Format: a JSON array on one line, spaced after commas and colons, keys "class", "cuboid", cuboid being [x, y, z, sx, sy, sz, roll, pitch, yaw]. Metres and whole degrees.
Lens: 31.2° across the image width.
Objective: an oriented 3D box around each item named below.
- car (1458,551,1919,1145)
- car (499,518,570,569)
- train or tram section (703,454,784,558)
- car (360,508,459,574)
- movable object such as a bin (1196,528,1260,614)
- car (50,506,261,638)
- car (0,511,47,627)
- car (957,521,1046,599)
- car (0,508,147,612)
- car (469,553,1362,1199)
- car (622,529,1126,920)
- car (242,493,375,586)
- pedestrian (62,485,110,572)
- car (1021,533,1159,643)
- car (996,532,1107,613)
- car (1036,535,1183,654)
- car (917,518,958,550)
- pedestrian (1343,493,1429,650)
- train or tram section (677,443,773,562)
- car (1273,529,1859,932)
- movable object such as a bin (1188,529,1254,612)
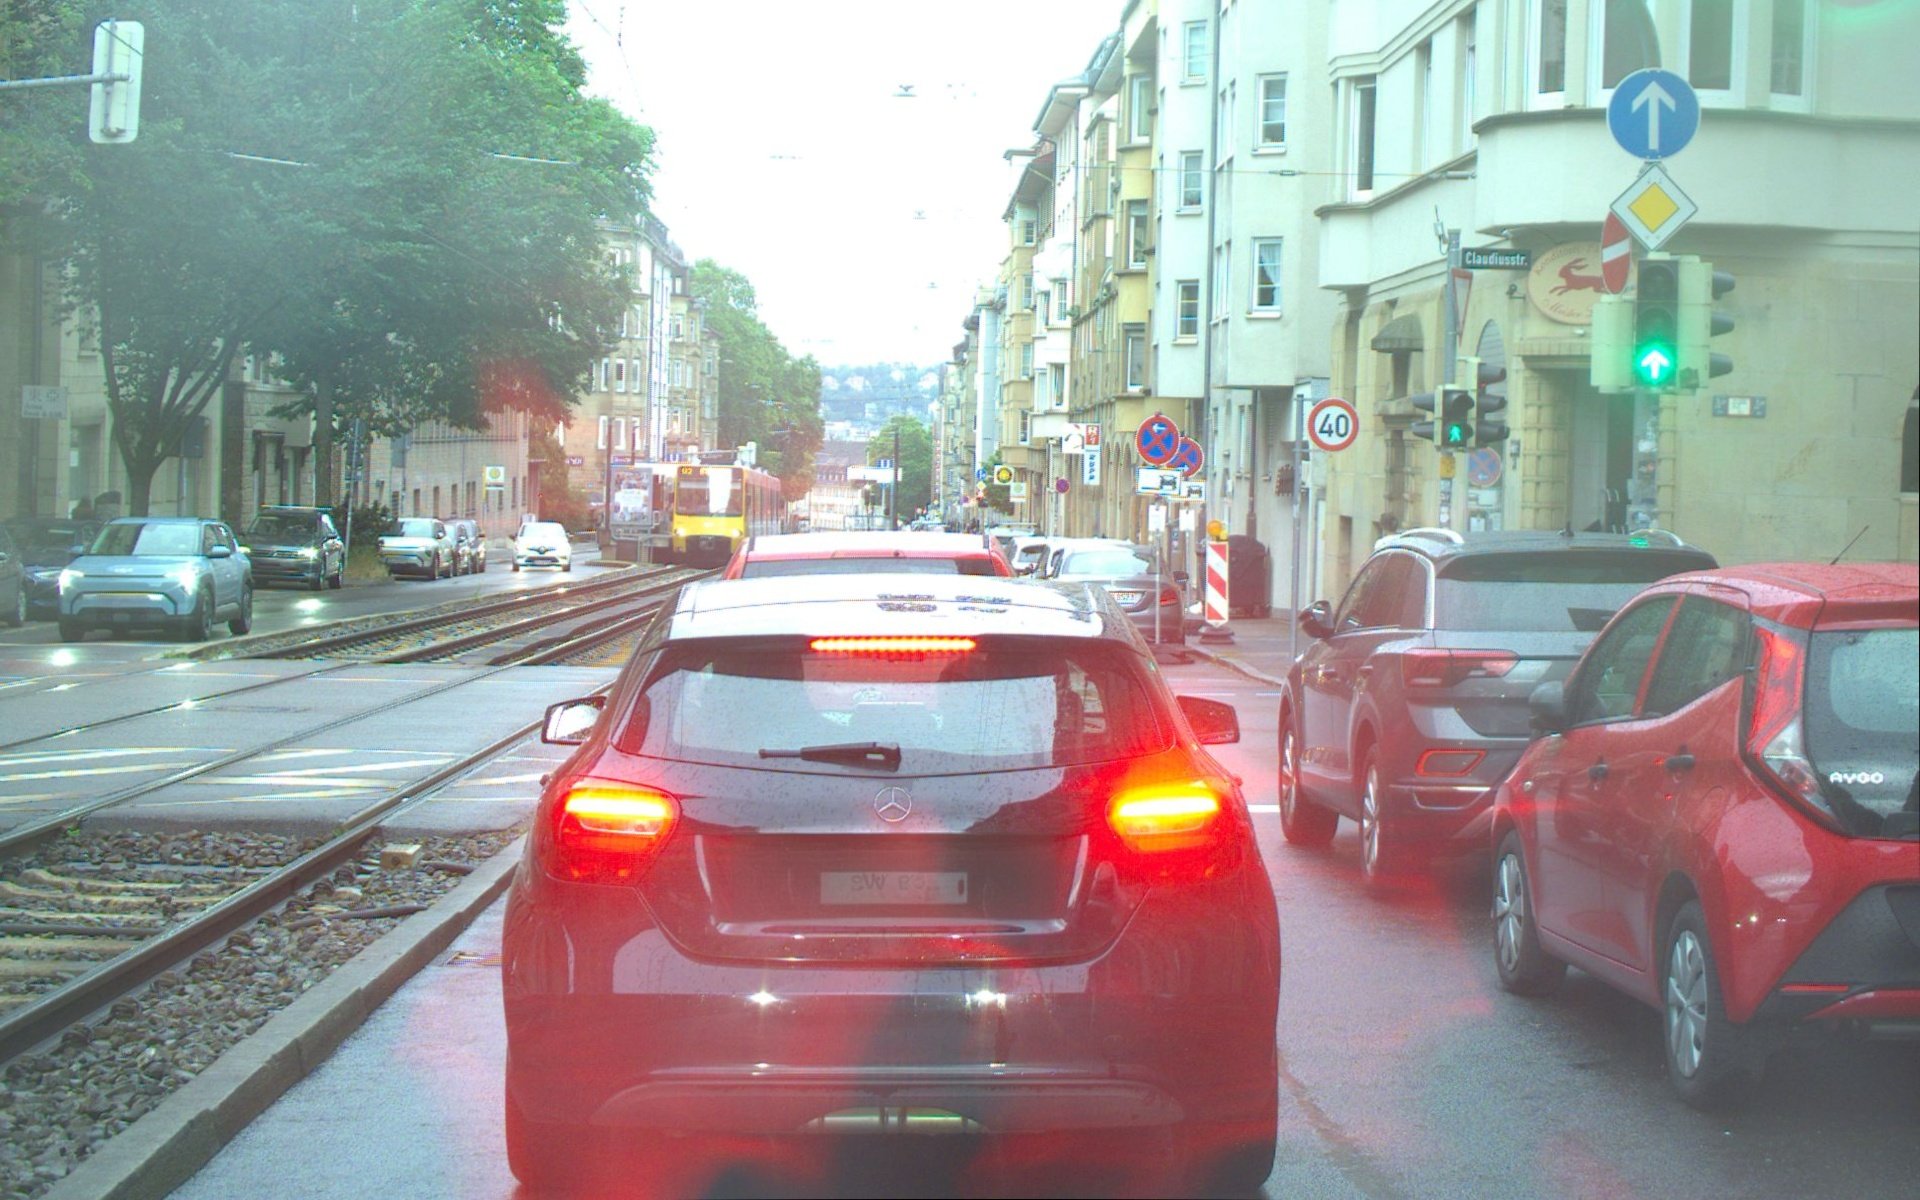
[{"class": "car", "cuboid": [2.716, 0.613, 10.342, 1.705, 1.448, 3.533, 2, 1, -3]}, {"class": "car", "cuboid": [-12.795, -1.692, 103.510, 1.780, 1.497, 4.063, 1, 1, -2]}, {"class": "train or tram section", "cuboid": [-8.873, -3.857, 142.265, 2.745, 4.048, 15.663, 1, 1, -2]}, {"class": "car", "cuboid": [-14.258, -1.561, 89.183, 1.961, 1.600, 4.329, 2, 2, -2]}, {"class": "movable object such as a bin", "cuboid": [4.640, -0.512, 59.615, 0.980, 1.463, 1.273, 1, 0, -1]}, {"class": "car", "cuboid": [-10.400, -0.371, 44.720, 1.921, 1.612, 4.129, 1, 1, -2]}, {"class": "car", "cuboid": [-13.420, -0.424, 45.523, 1.689, 1.524, 4.176, 1, 1, -2]}, {"class": "car", "cuboid": [0.923, -0.865, 74.390, 1.841, 1.602, 4.760, 1, 1, 1]}, {"class": "car", "cuboid": [-13.465, -0.597, 51.078, 1.780, 1.455, 4.979, 1, 1, -2]}, {"class": "car", "cuboid": [-0.115, 0.624, 9.100, 1.834, 1.448, 3.902, 1, 1, -1]}, {"class": "car", "cuboid": [-0.371, 0.468, 16.016, 1.993, 1.520, 4.246, 2, 1, -1]}, {"class": "car", "cuboid": [-13.587, -1.297, 71.920, 1.953, 1.736, 4.780, 4, 1, -2]}, {"class": "pedestrian", "cuboid": [-17.104, -1.398, 67.273, 0.728, 1.657, 0.771, 2, 1, -1]}, {"class": "car", "cuboid": [1.802, -0.187, 48.817, 1.712, 1.463, 4.774, 1, 1, -1]}, {"class": "car", "cuboid": [1.611, -0.498, 61.699, 1.789, 1.381, 4.395, 1, 1, -1]}, {"class": "car", "cuboid": [1.837, -0.091, 43.450, 1.711, 1.405, 4.817, 1, 1, 1]}, {"class": "car", "cuboid": [-1.085, -3.279, 170.839, 1.887, 1.520, 4.245, 2, 1, 1]}, {"class": "pedestrian", "cuboid": [4.632, -0.309, 37.397, 0.804, 1.681, 0.754, 1, 0, -1]}, {"class": "train or tram section", "cuboid": [-8.495, -3.544, 125.988, 2.745, 4.048, 17.216, 1, 1, -2]}, {"class": "car", "cuboid": [2.583, 0.483, 15.613, 1.867, 1.543, 3.991, 2, 1, -1]}, {"class": "movable object such as a bin", "cuboid": [4.640, -0.527, 61.172, 1.018, 1.463, 1.323, 1, 0, -1]}]
